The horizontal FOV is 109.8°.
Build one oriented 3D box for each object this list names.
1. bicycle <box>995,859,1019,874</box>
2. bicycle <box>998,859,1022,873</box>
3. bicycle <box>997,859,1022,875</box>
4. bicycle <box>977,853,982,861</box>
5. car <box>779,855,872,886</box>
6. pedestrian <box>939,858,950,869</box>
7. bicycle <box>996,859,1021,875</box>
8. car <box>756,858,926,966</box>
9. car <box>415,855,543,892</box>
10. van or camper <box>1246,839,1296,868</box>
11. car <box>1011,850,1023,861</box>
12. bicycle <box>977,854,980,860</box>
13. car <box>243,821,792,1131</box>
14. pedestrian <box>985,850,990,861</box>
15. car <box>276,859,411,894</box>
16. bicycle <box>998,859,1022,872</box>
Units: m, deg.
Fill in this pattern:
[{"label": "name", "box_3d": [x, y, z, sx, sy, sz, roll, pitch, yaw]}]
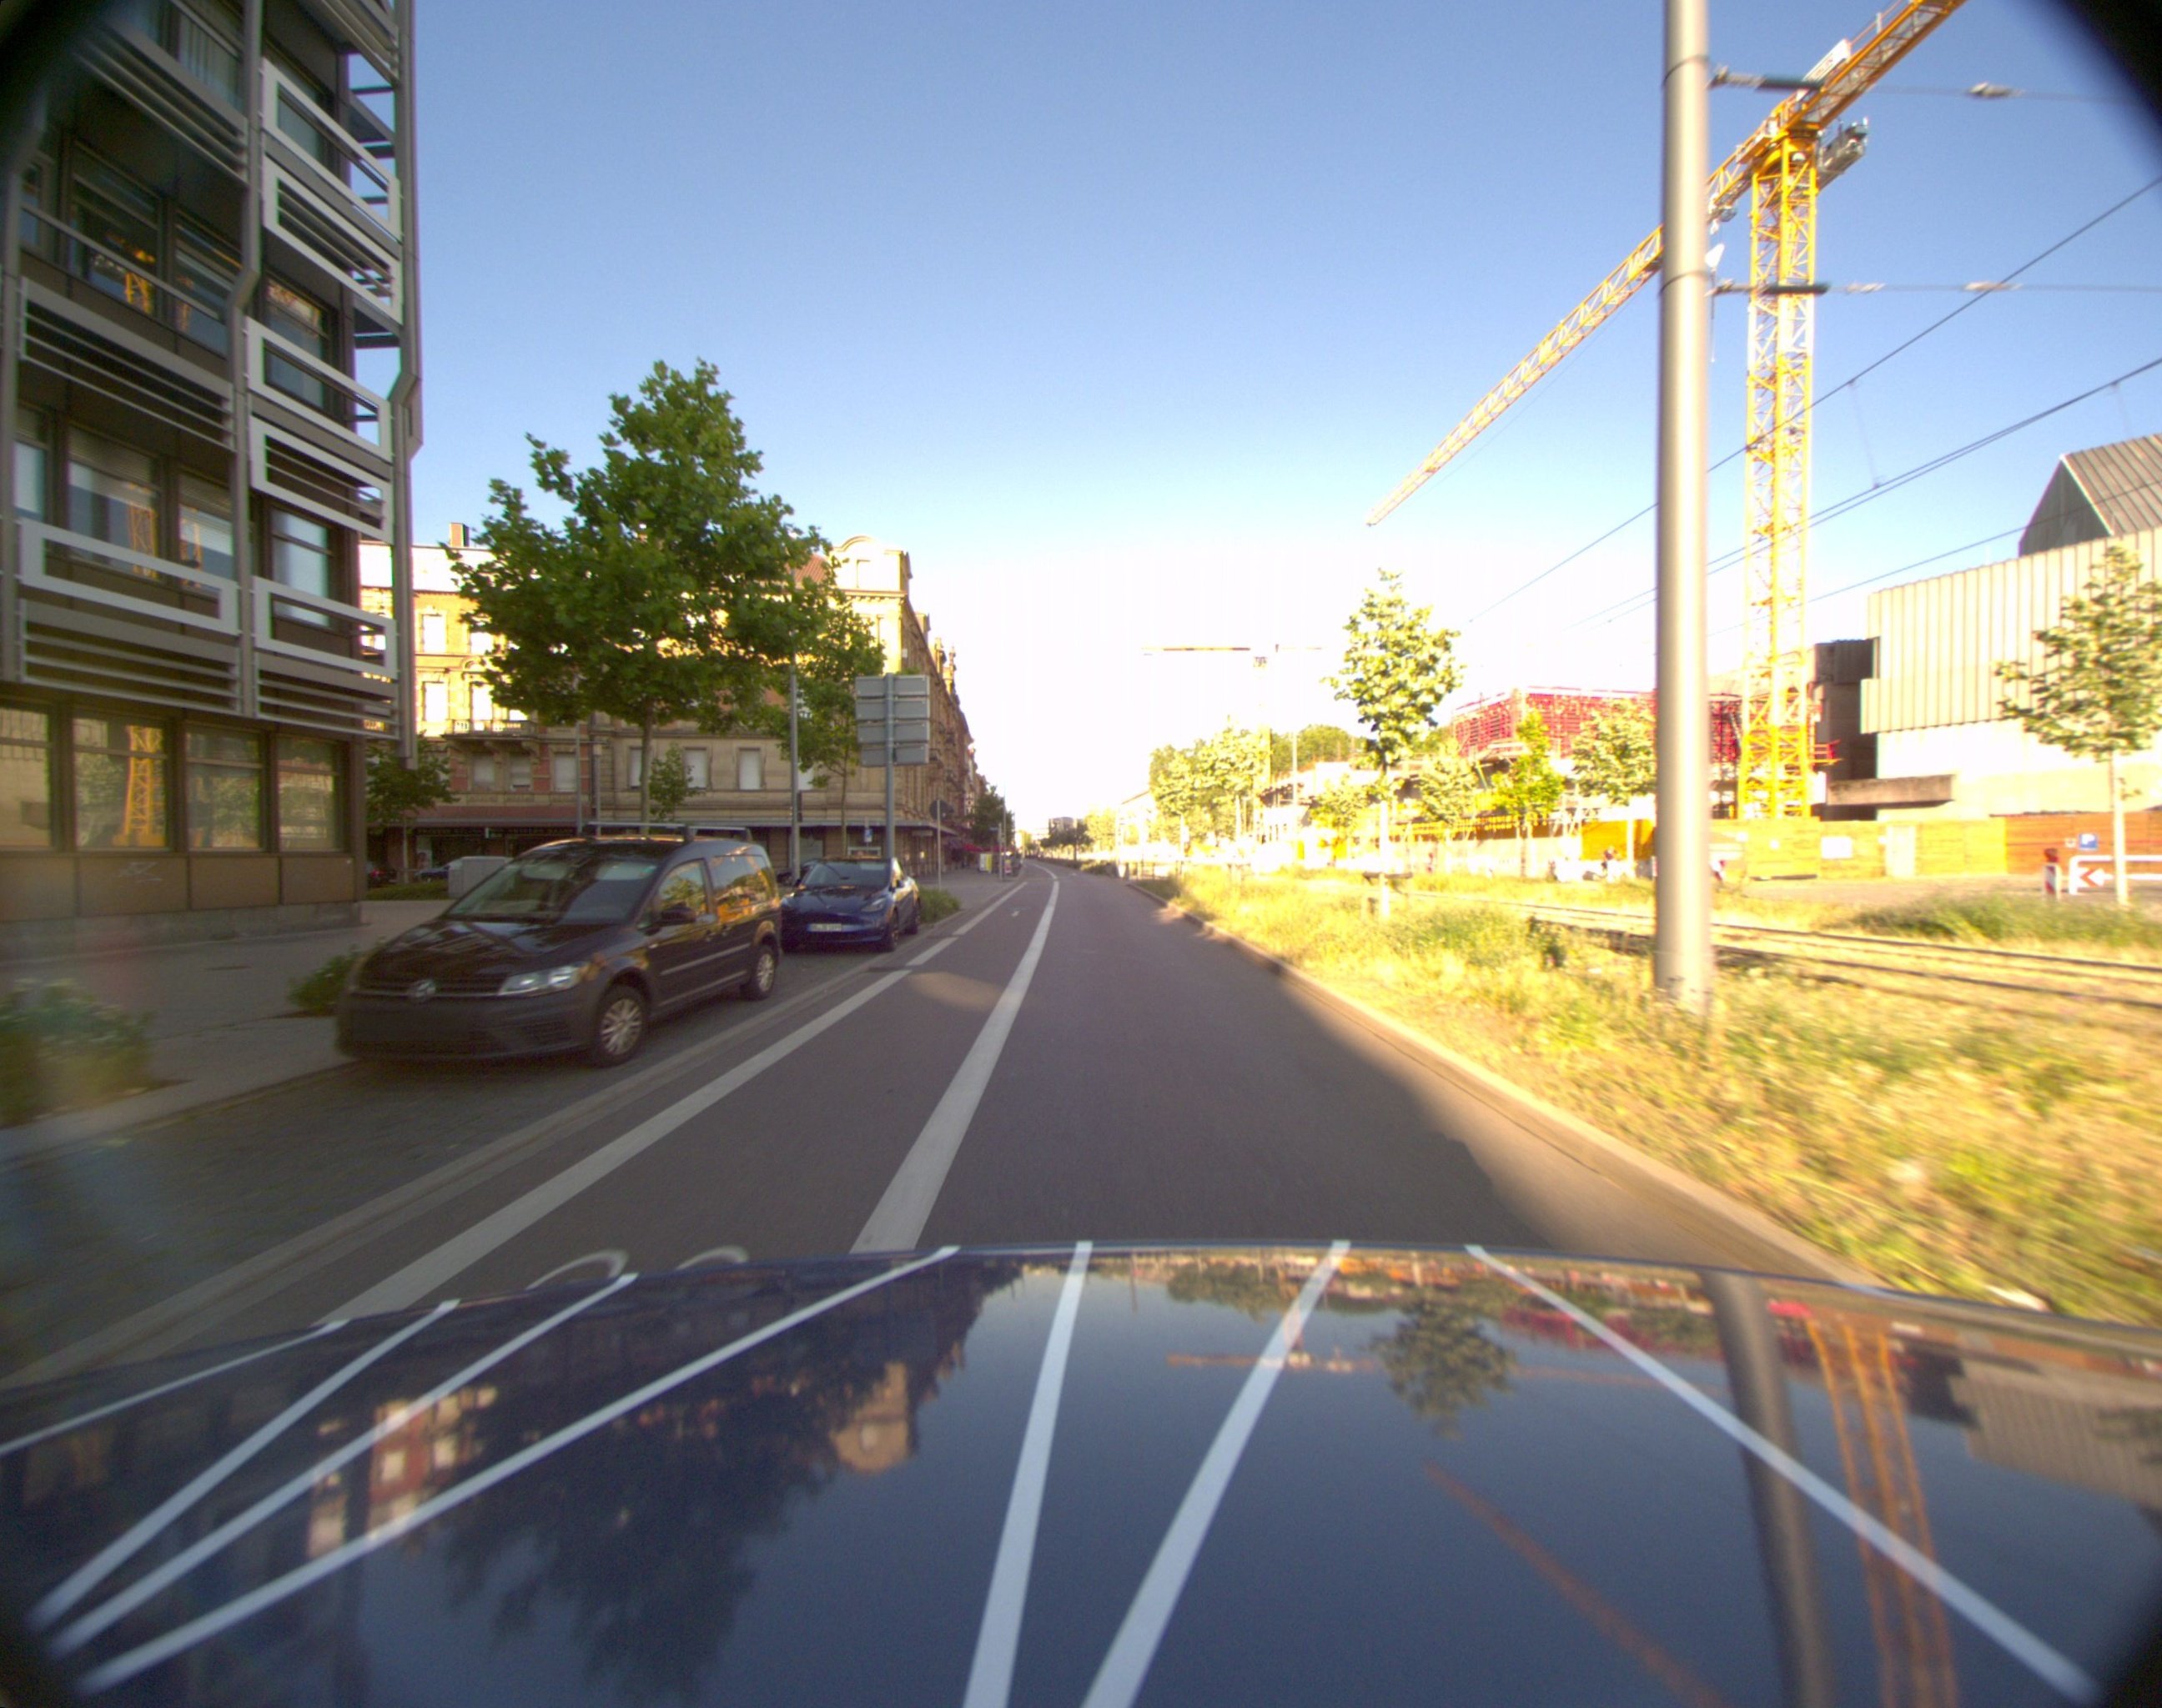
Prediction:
[{"label": "bicycle", "box_3d": [-5.588, 0.946, 57.607, 1.726, 1.098, 0.507, 2, 1, 1]}, {"label": "bicycle", "box_3d": [-5.651, 0.955, 60.705, 1.849, 1.098, 0.566, 2, 1, 1]}, {"label": "bicycle", "box_3d": [-5.326, 0.945, 56.340, 1.758, 1.098, 0.507, 2, 1, 1]}, {"label": "bicycle", "box_3d": [-16.950, 0.471, 126.579, 0.706, 1.213, 2.071, -1, 1, -5]}, {"label": "car", "box_3d": [-13.123, 0.829, 39.292, 4.275, 1.441, 1.861, -1, 1, -10]}, {"label": "pedestrian", "box_3d": [-11.589, 0.823, 64.721, 0.816, 0.957, 0.804, 0, 0, -3]}, {"label": "bicycle", "box_3d": [-5.306, 0.963, 55.750, 1.758, 1.098, 0.507, 2, 1, 1]}, {"label": "car", "box_3d": [-4.180, 0.920, 14.069, 1.937, 1.589, 4.697, 1, 0, -4]}, {"label": "car", "box_3d": [-29.053, 0.920, 36.791, 4.454, 1.615, 1.875, -1, 2, -10]}, {"label": "van or camper", "box_3d": [17.548, -0.045, 70.514, 2.228, 2.495, 7.197, 1, 0, -5]}, {"label": "car", "box_3d": [-9.602, 0.204, 114.096, 1.854, 1.555, 4.294, -1, 0, -5]}, {"label": "bicycle", "box_3d": [-17.431, 0.553, 129.375, 0.344, 1.027, 2.071, -1, 1, -5]}, {"label": "car", "box_3d": [-4.352, 0.761, 6.934, 1.739, 1.908, 4.393, 1, 0, 0]}, {"label": "pedestrian", "box_3d": [-14.957, 0.267, 121.808, 0.749, 1.744, 1.071, 0, 1, -5]}, {"label": "car", "box_3d": [-34.758, 1.038, 35.925, 4.206, 1.474, 1.861, -1, 1, -10]}, {"label": "bicycle", "box_3d": [-5.801, 0.953, 62.209, 1.809, 1.041, 0.566, 2, 1, 1]}]
